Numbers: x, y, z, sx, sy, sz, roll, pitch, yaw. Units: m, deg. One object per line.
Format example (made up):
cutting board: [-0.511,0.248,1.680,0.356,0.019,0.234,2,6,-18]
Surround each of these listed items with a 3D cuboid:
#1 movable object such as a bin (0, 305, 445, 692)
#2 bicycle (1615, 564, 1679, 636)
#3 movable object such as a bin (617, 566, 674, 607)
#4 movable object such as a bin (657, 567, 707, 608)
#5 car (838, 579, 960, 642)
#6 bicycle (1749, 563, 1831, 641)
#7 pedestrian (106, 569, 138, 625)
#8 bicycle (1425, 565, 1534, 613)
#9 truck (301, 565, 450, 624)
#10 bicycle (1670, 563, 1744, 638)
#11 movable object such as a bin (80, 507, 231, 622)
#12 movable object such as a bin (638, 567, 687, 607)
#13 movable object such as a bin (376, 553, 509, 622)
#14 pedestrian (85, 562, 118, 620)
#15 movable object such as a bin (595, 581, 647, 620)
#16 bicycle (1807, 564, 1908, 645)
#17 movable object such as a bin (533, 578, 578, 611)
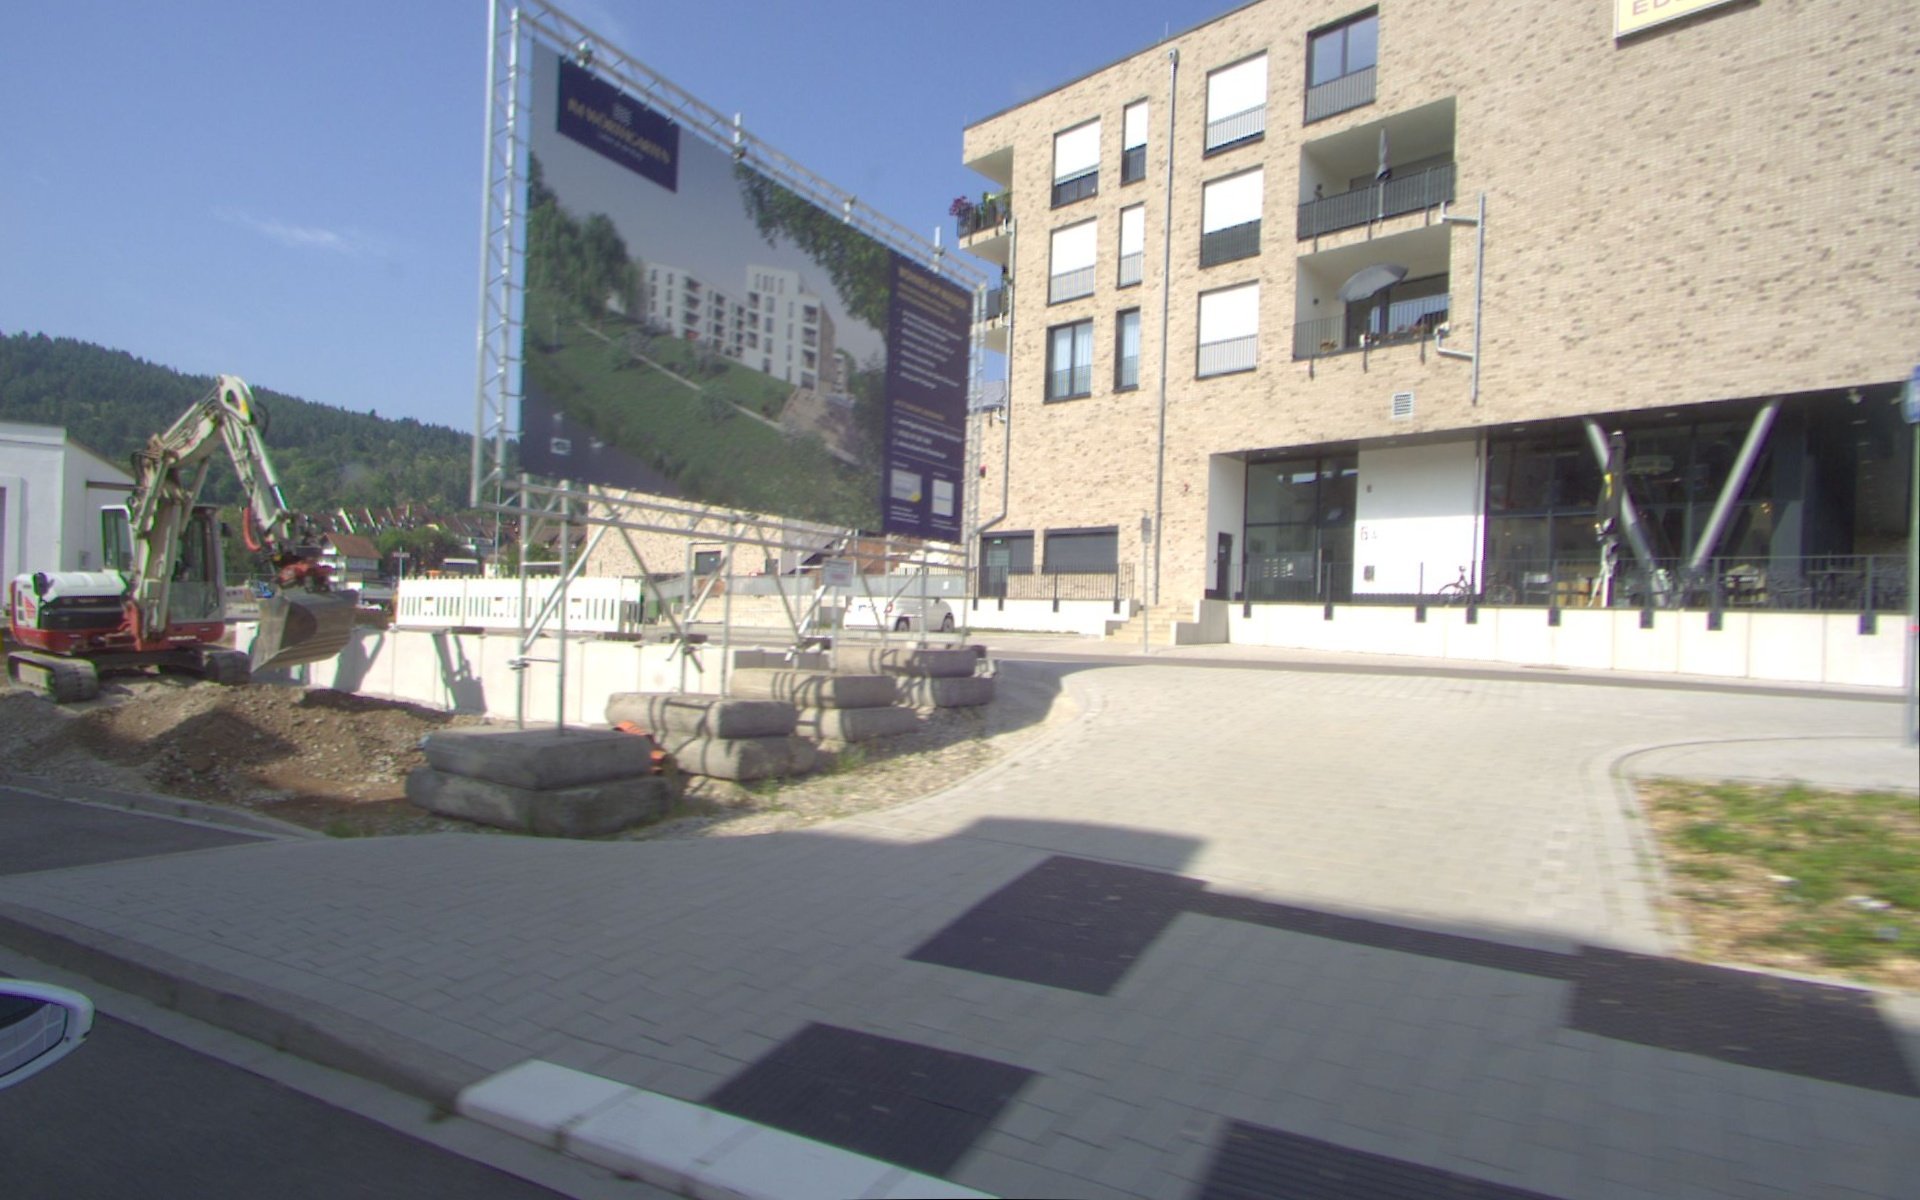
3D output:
movable object such as a bin: [-10.143,-0.994,13.174,7.688,3.900,2.293,1,-4,34]
bicycle: [13.151,0.024,19.216,0.844,1.158,2.236,3,-3,31]
movable object such as a bin: [-12.914,-0.548,41.106,1.304,1.482,1.688,2,-4,39]
movable object such as a bin: [-10.906,-0.499,39.275,1.304,1.482,1.295,2,-3,40]
car: [-1.500,0.300,25.737,1.570,1.514,3.403,0,-2,29]
bicycle: [14.628,0.056,17.700,0.755,1.158,2.236,3,-3,31]
pedestrian: [-29.612,-0.089,35.398,0.627,1.920,0.604,5,-3,-30]
bicycle: [12.681,-0.277,24.504,2.220,1.057,0.688,1,-4,44]
truck: [-24.663,-0.183,42.330,5.265,2.295,2.204,2,-1,-35]
bicycle: [13.787,0.030,18.531,0.844,1.158,2.236,3,-3,31]
movable object such as a bin: [-29.566,-1.152,37.097,2.817,3.666,5.714,5,-3,-25]
movable object such as a bin: [-11.920,-0.528,40.130,1.304,1.482,1.295,2,-3,40]
movable object such as a bin: [-20.970,-0.449,40.671,4.569,2.603,1.912,2,-1,-35]
pedestrian: [-29.341,-0.303,34.224,0.600,1.920,0.632,2,-3,40]
movable object such as a bin: [-14.452,0.012,42.726,1.304,1.482,1.575,2,-4,40]
bicycle: [15.298,0.103,17.133,0.844,1.158,2.236,3,-3,31]
movable object such as a bin: [-17.760,-0.240,43.951,1.304,1.283,1.292,2,-4,40]
